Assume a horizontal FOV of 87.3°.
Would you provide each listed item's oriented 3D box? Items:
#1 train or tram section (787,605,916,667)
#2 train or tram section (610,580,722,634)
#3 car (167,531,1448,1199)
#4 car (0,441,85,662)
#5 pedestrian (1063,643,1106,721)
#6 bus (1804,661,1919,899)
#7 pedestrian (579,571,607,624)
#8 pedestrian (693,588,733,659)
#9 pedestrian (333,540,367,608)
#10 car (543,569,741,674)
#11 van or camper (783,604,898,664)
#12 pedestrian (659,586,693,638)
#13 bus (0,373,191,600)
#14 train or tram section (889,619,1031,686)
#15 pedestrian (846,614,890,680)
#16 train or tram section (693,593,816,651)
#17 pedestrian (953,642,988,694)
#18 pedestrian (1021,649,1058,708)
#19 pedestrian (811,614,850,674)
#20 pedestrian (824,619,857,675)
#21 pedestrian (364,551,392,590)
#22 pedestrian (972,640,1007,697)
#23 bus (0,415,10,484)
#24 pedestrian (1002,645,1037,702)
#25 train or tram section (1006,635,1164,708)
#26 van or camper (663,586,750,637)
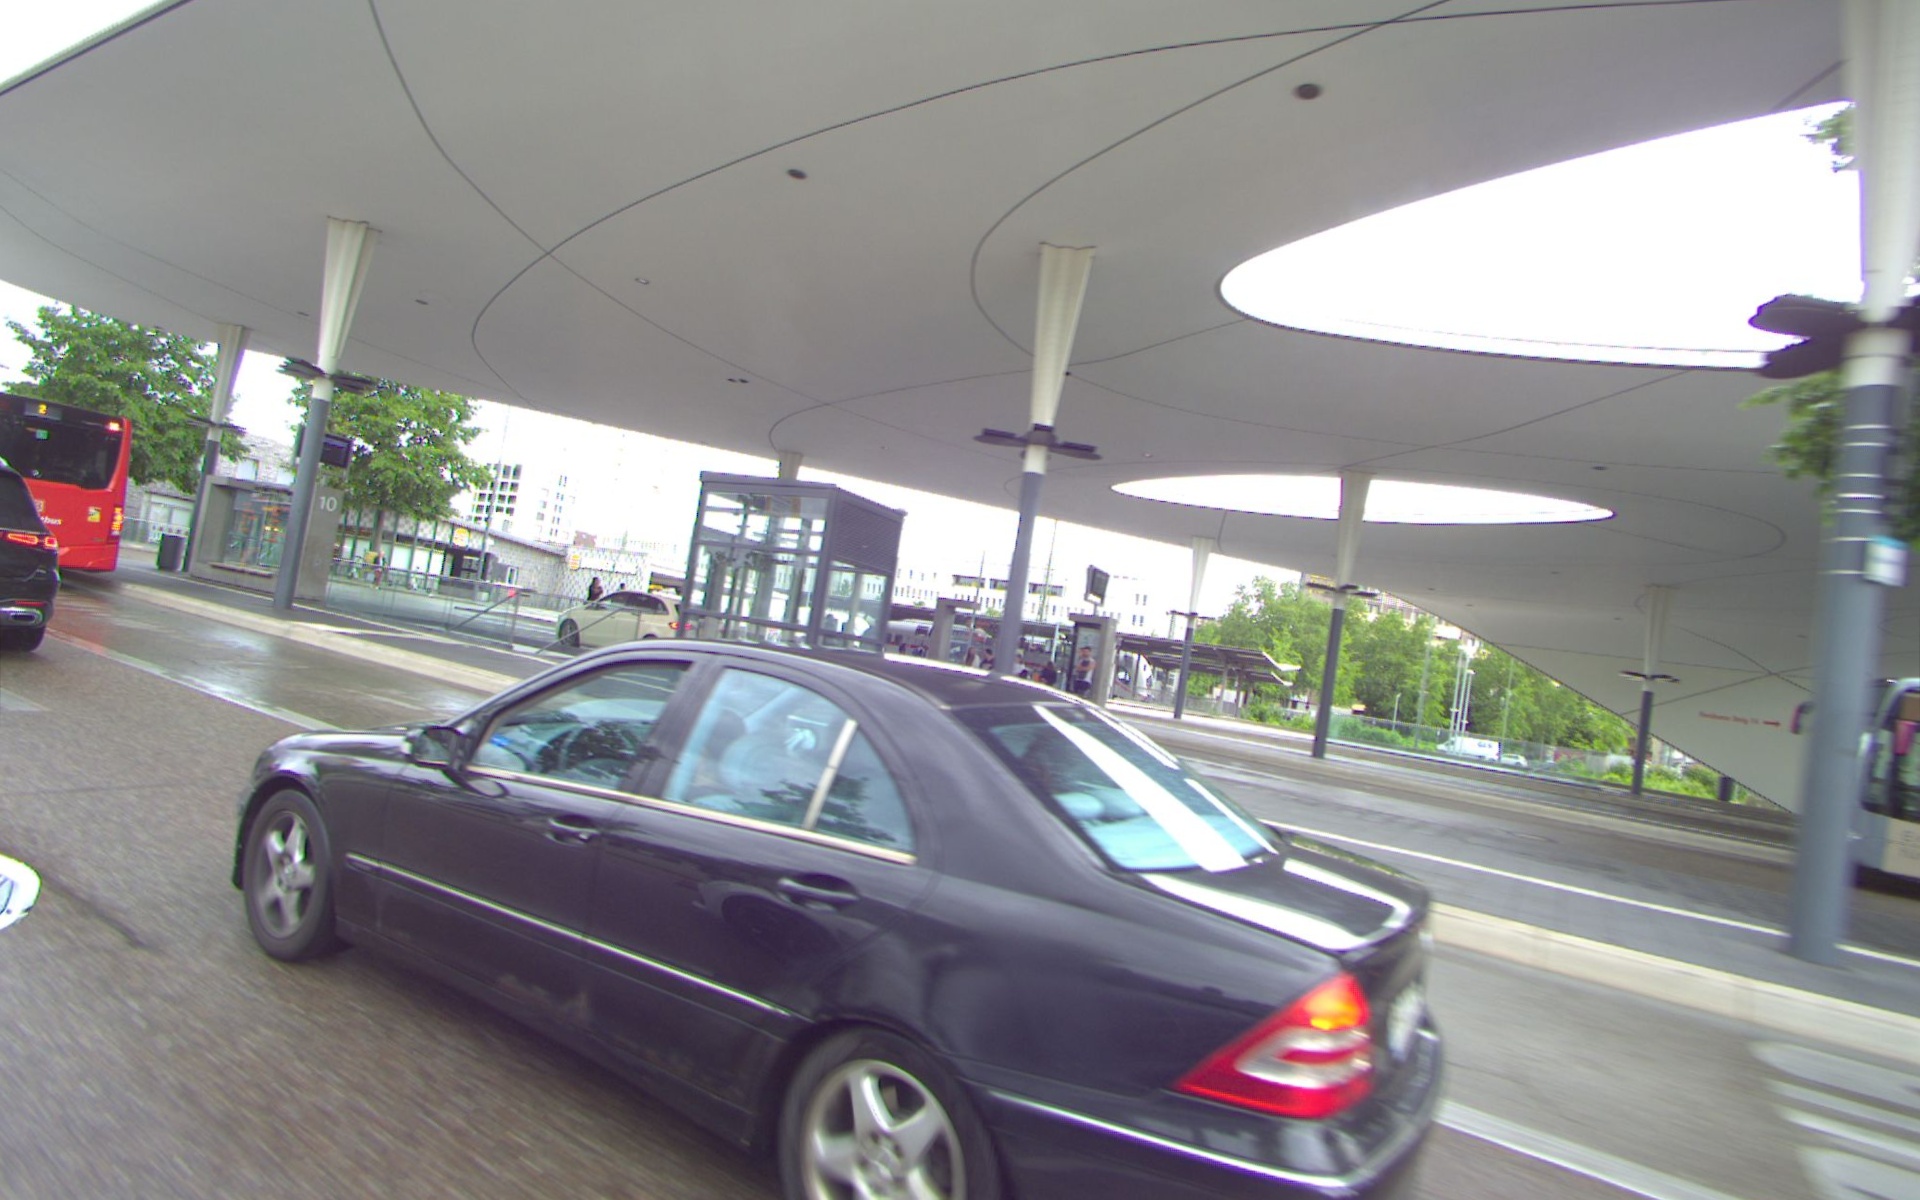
[{"bbox_3d":[-9.772,3.189,89.632,11.423,3.693,3.145,7,-6,32],"label":"train or tram section"},{"bbox_3d":[-29.954,0.692,102.252,12.118,3.693,3.145,7,-6,32],"label":"train or tram section"},{"bbox_3d":[-0.772,0.826,3.566,4.231,1.479,1.701,9,-1,31],"label":"car"},{"bbox_3d":[-10.601,-0.708,9.610,4.793,1.898,1.960,7,0,32],"label":"car"},{"bbox_3d":[2.895,1.912,23.399,0.603,1.710,0.562,8,-2,25],"label":"pedestrian"},{"bbox_3d":[17.938,3.085,11.717,11.889,3.078,2.727,7,-2,32],"label":"bus"},{"bbox_3d":[-11.980,-0.063,32.851,0.573,1.592,0.772,9,-7,-17],"label":"pedestrian"},{"bbox_3d":[-7.477,0.724,30.455,0.719,2.032,0.665,11,-8,-31],"label":"pedestrian"},{"bbox_3d":[-16.006,-0.679,26.392,0.570,1.697,0.578,8,-2,-32],"label":"pedestrian"},{"bbox_3d":[-7.122,0.464,22.425,4.169,1.680,1.717,7,-4,31],"label":"car"},{"bbox_3d":[-6.805,1.916,57.081,6.110,2.536,2.099,7,-3,28],"label":"van or camper"},{"bbox_3d":[-9.572,0.409,33.980,0.759,1.592,0.583,7,-7,0],"label":"pedestrian"},{"bbox_3d":[-19.292,-2.354,19.506,10.700,3.329,3.292,7,-2,33],"label":"bus"},{"bbox_3d":[-0.085,4.321,83.635,11.423,3.715,3.145,7,-6,32],"label":"train or tram section"},{"bbox_3d":[-2.584,1.309,28.193,0.757,1.730,0.707,11,5,44],"label":"pedestrian"},{"bbox_3d":[-19.705,2.004,95.837,12.118,3.693,3.145,7,-6,32],"label":"train or tram section"},{"bbox_3d":[0.294,1.903,28.149,0.603,1.376,0.562,6,-2,29],"label":"pedestrian"},{"bbox_3d":[2.119,2.095,26.746,0.625,1.460,0.562,6,-2,29],"label":"pedestrian"},{"bbox_3d":[-3.717,1.278,28.919,0.699,1.597,0.601,6,-5,23],"label":"pedestrian"},{"bbox_3d":[-3.688,1.460,31.195,0.759,1.592,0.583,7,-7,0],"label":"pedestrian"},{"bbox_3d":[-24.915,-1.255,43.078,0.663,1.592,0.606,2,-8,38],"label":"pedestrian"},{"bbox_3d":[0.808,1.889,27.784,0.603,1.460,0.562,6,-2,29],"label":"pedestrian"},{"bbox_3d":[-26.987,-3.262,24.556,8.705,3.327,3.297,7,-2,33],"label":"bus"},{"bbox_3d":[1.622,2.007,27.392,0.603,1.460,0.562,6,-2,29],"label":"pedestrian"},{"bbox_3d":[9.550,5.457,77.636,11.423,3.712,3.145,7,-6,32],"label":"train or tram section"},{"bbox_3d":[-14.712,0.732,58.701,2.074,2.294,4.701,7,-3,28],"label":"van or camper"}]
